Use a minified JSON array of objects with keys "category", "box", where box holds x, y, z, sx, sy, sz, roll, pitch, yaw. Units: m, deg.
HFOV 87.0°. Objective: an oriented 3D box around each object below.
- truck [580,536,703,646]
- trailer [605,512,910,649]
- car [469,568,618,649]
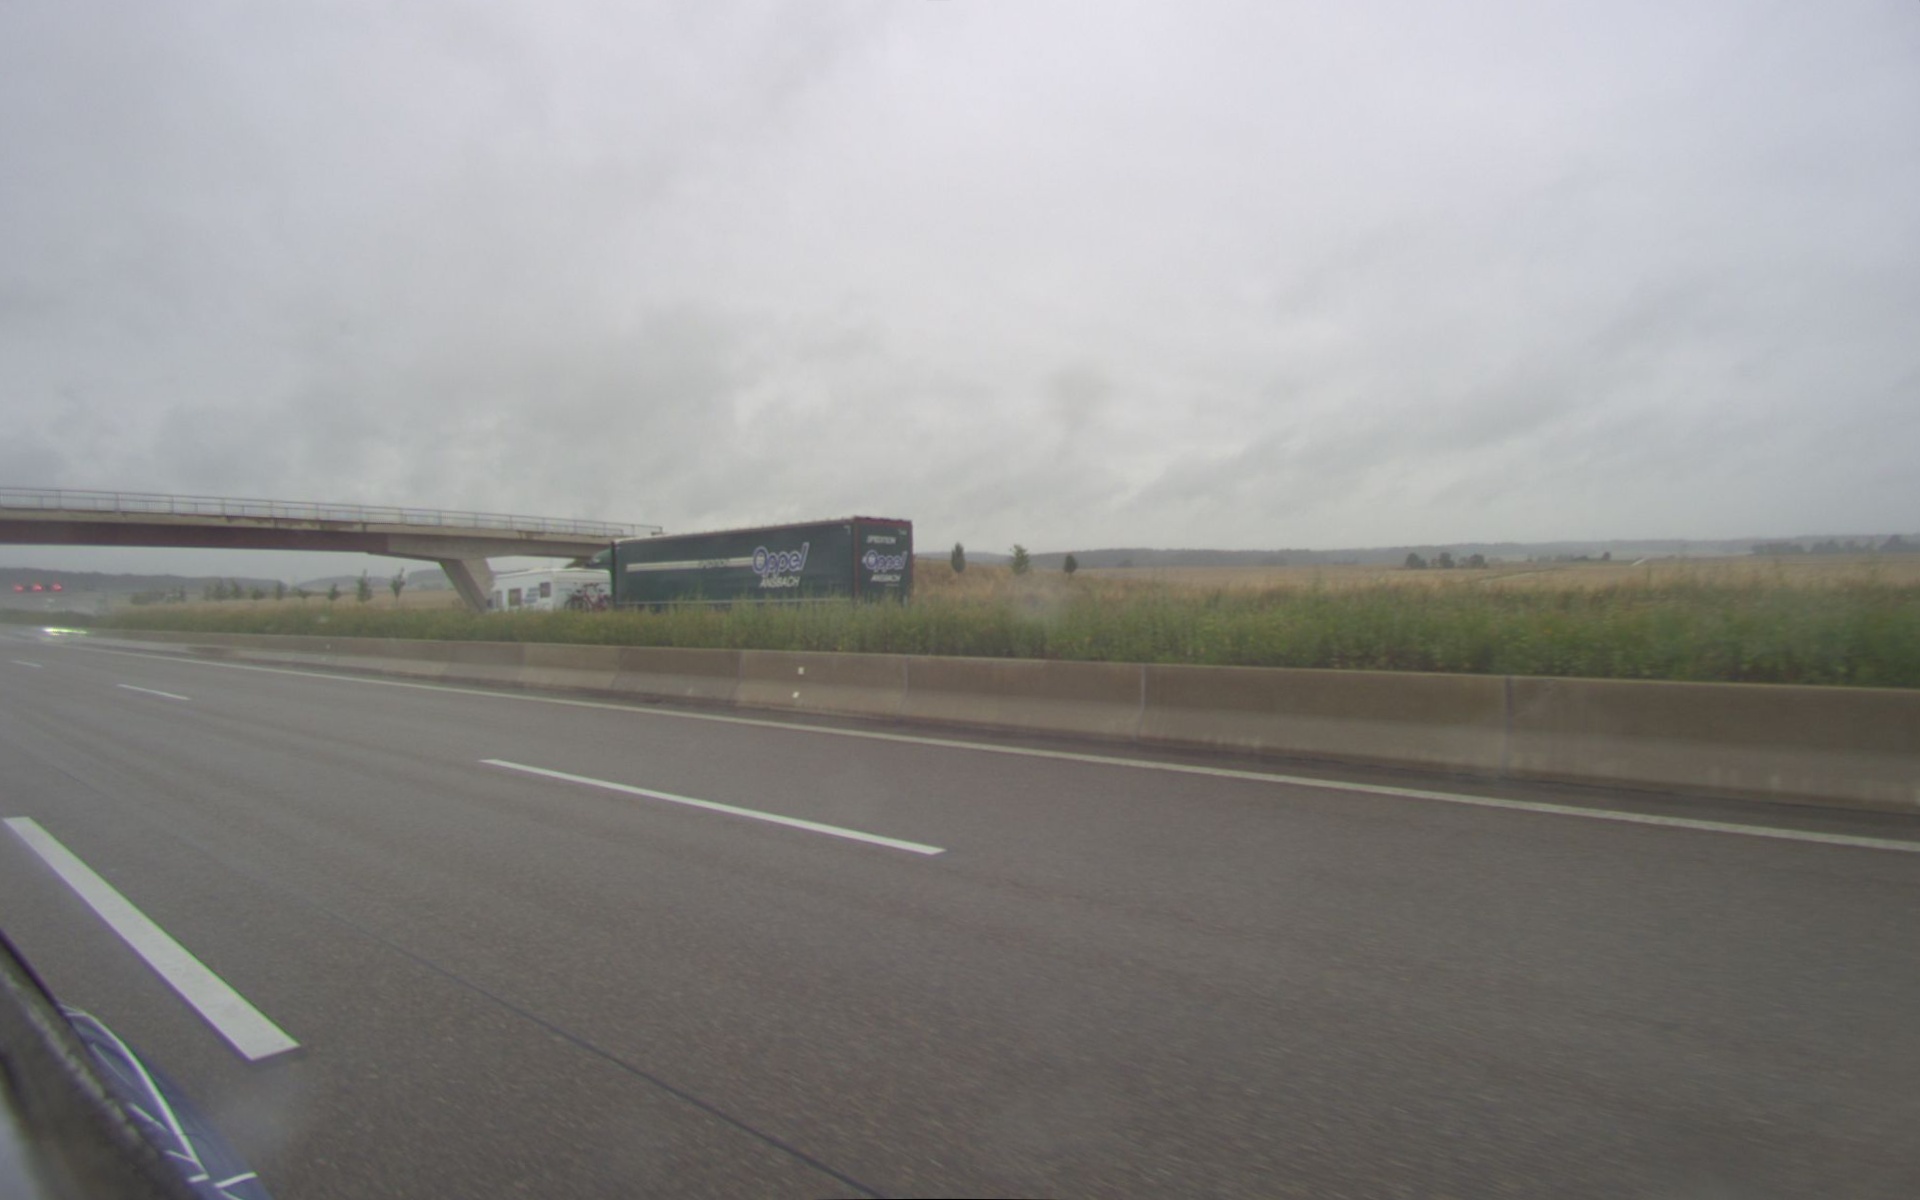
[{"category":"truck","box":[-12.532,-0.298,39.635,5.182,4.013,2.190,-2,0,41]},{"category":"trailer","box":[-7.650,-0.441,35.328,14.200,4.027,2.201,-2,0,41]},{"category":"car","box":[-15.327,0.298,37.072,6.202,2.726,2.471,-1,0,41]}]
